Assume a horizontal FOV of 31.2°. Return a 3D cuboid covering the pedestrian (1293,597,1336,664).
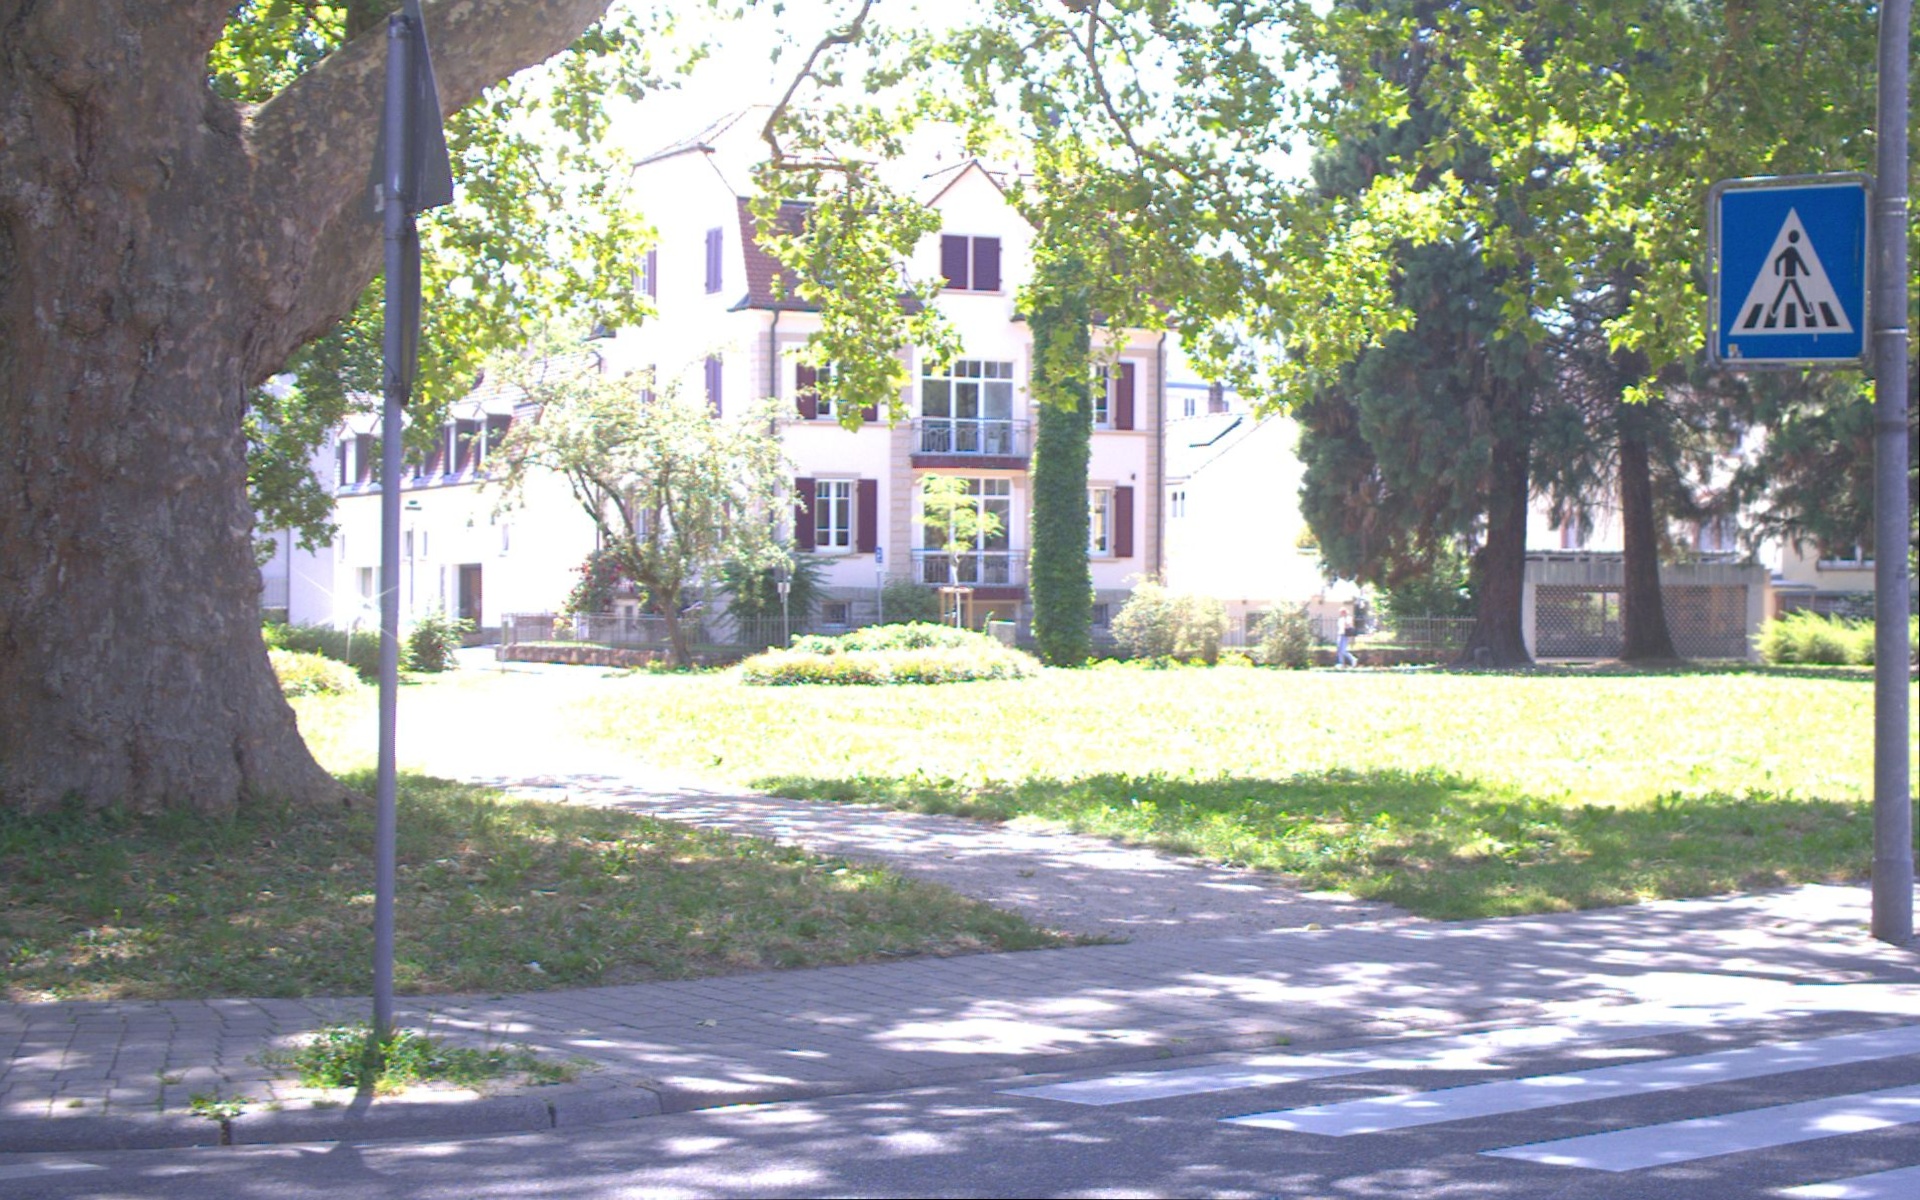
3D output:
[{"bbox_3d":[7.536,0.642,73.047,0.825,1.366,0.618,3,1,10],"label":"pedestrian"}]
